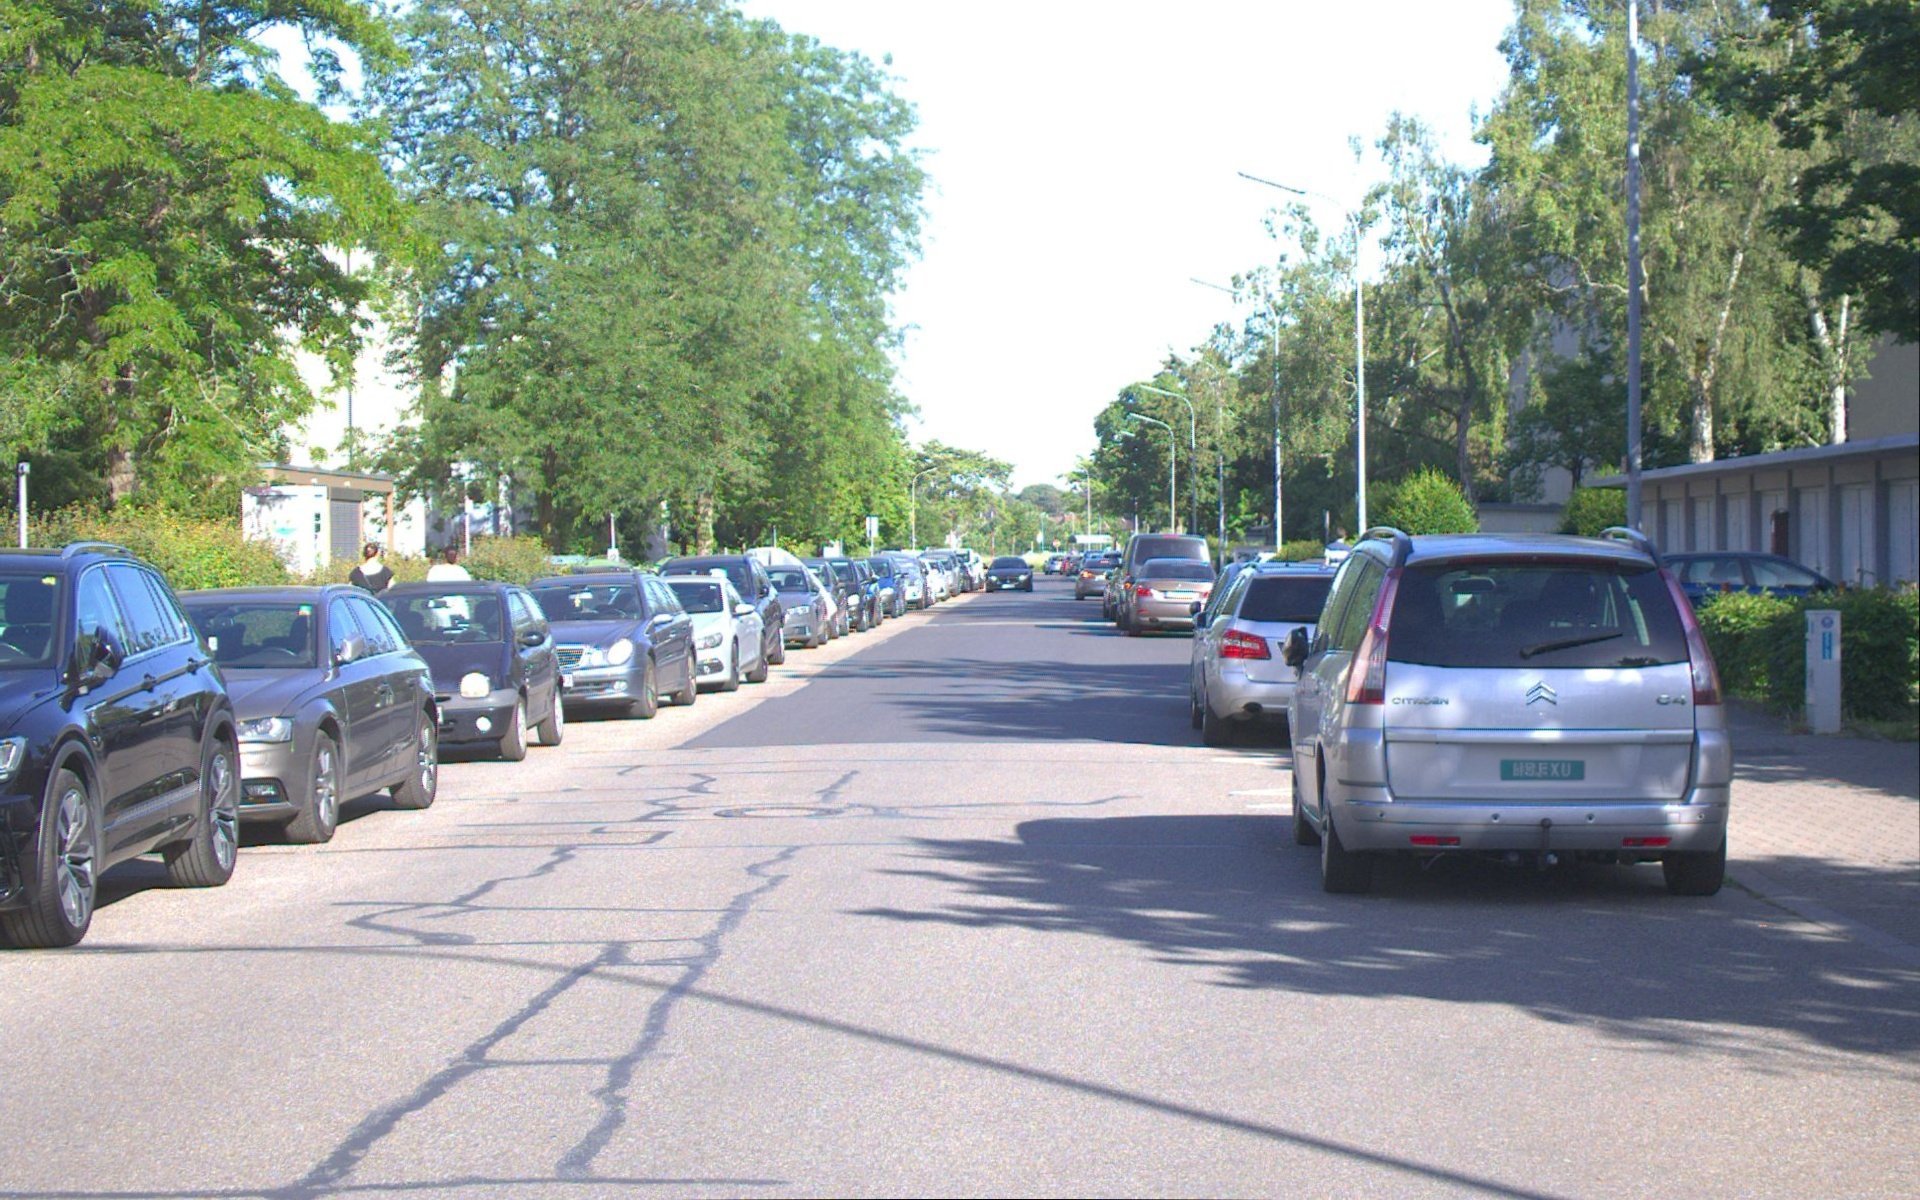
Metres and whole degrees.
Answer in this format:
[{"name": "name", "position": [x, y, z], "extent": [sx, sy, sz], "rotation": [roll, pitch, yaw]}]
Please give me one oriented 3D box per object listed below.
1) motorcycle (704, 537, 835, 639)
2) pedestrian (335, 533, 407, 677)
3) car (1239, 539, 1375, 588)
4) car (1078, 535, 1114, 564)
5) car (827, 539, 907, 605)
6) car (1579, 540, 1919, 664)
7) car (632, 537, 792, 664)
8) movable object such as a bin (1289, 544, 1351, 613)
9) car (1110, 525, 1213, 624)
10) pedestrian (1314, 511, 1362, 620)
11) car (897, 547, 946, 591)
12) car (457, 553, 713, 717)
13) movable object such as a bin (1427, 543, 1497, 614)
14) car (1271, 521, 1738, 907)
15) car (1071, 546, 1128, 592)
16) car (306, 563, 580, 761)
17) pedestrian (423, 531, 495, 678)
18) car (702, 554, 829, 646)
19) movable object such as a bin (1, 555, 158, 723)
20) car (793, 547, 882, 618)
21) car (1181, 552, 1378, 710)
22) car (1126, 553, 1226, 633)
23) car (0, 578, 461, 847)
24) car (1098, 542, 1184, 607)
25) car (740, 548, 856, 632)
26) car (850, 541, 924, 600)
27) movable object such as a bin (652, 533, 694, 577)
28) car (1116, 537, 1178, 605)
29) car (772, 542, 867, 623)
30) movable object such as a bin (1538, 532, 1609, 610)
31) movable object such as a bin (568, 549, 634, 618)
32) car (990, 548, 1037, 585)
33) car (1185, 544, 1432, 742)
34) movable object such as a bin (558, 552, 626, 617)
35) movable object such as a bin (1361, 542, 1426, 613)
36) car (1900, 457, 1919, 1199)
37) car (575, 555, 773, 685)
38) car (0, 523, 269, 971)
[{"name": "motorcycle", "position": [-3.441, -0.230, 62.197], "extent": [2.256, 1.721, 0.932], "rotation": [-3, 1, -1]}, {"name": "pedestrian", "position": [-6.848, 0.053, 40.007], "extent": [0.720, 1.673, 0.600], "rotation": [0, 1, 2]}, {"name": "car", "position": [11.618, -1.232, 115.387], "extent": [4.415, 1.508, 1.829], "rotation": [-1, 1, 2]}, {"name": "car", "position": [7.562, -2.820, 191.007], "extent": [1.796, 1.556, 3.952], "rotation": [1, 1, -1]}, {"name": "car", "position": [-2.395, -0.753, 89.187], "extent": [1.754, 1.600, 3.968], "rotation": [-2, 1, 2]}, {"name": "car", "position": [9.887, 0.011, 42.305], "extent": [4.182, 1.489, 1.818], "rotation": [0, 1, -1]}, {"name": "car", "position": [-3.420, -0.026, 48.106], "extent": [1.754, 1.630, 4.370], "rotation": [-3, 1, 2]}, {"name": "movable object such as a bin", "position": [7.197, -0.438, 68.666], "extent": [1.027, 1.305, 1.386], "rotation": [-3, 0, 12]}, {"name": "car", "position": [4.101, -0.542, 70.528], "extent": [1.852, 1.927, 4.705], "rotation": [1, 1, 1]}, {"name": "pedestrian", "position": [6.707, -0.615, 60.991], "extent": [0.703, 1.882, 0.872], "rotation": [-3, 1, 3]}, {"name": "car", "position": [-1.359, -1.105, 121.963], "extent": [1.686, 1.500, 3.818], "rotation": [-1, 1, 0]}, {"name": "car", "position": [-3.777, 0.324, 35.478], "extent": [1.754, 1.485, 4.900], "rotation": [-3, 0, 3]}, {"name": "movable object such as a bin", "position": [9.804, -0.428, 67.191], "extent": [1.276, 1.360, 1.133], "rotation": [0, 1, 5]}, {"name": "car", "position": [2.494, 0.437, 16.735], "extent": [1.754, 1.621, 4.495], "rotation": [0, 1, 3]}, {"name": "car", "position": [4.749, -1.080, 117.081], "extent": [1.679, 1.508, 4.104], "rotation": [1, 1, -1]}, {"name": "car", "position": [-4.189, 0.461, 28.305], "extent": [1.648, 1.459, 3.496], "rotation": [-2, 1, 1]}, {"name": "pedestrian", "position": [-5.740, 0.051, 39.440], "extent": [0.720, 1.673, 0.616], "rotation": [0, 1, 2]}, {"name": "car", "position": [-3.280, -0.026, 58.619], "extent": [1.754, 1.416, 4.269], "rotation": [-3, 1, 2]}, {"name": "movable object such as a bin", "position": [-7.764, 0.326, 30.370], "extent": [1.002, 1.410, 1.326], "rotation": [2, 1, 0]}, {"name": "car", "position": [-2.726, -0.421, 77.349], "extent": [1.754, 1.476, 4.537], "rotation": [-3, 1, 0]}, {"name": "car", "position": [3.179, 0.267, 34.777], "extent": [1.804, 1.489, 3.795], "rotation": [0, 1, 3]}, {"name": "car", "position": [4.035, -0.158, 64.565], "extent": [1.801, 1.414, 4.635], "rotation": [1, 1, 3]}, {"name": "car", "position": [-4.247, 0.583, 20.565], "extent": [1.754, 1.380, 4.674], "rotation": [-2, 0, 1]}, {"name": "car", "position": [4.344, -0.642, 82.960], "extent": [1.731, 1.485, 4.501], "rotation": [-1, 1, -1]}, {"name": "car", "position": [-3.073, -0.220, 65.842], "extent": [1.754, 1.476, 3.959], "rotation": [-2, 1, 3]}, {"name": "car", "position": [-2.091, -0.883, 99.849], "extent": [1.903, 1.634, 4.349], "rotation": [-1, 1, 2]}, {"name": "movable object such as a bin", "position": [-9.689, -1.526, 116.116], "extent": [1.177, 1.416, 1.462], "rotation": [2, 1, 4]}, {"name": "car", "position": [4.898, -0.770, 90.236], "extent": [1.489, 1.712, 2.583], "rotation": [1, 1, 1]}, {"name": "car", "position": [-2.917, -0.386, 71.948], "extent": [1.754, 1.569, 3.720], "rotation": [-3, 1, 0]}, {"name": "movable object such as a bin", "position": [12.101, -0.577, 67.870], "extent": [1.276, 1.460, 1.133], "rotation": [0, 4, 5]}, {"name": "movable object such as a bin", "position": [-7.368, -0.342, 70.649], "extent": [1.177, 1.403, 1.343], "rotation": [0, 1, 2]}, {"name": "car", "position": [2.230, -1.408, 142.912], "extent": [1.910, 1.471, 4.571], "rotation": [-1, 1, 1]}, {"name": "car", "position": [2.873, 0.296, 29.180], "extent": [1.831, 1.540, 4.640], "rotation": [0, 1, 3]}, {"name": "movable object such as a bin", "position": [-7.410, -0.326, 69.232], "extent": [1.177, 1.283, 1.343], "rotation": [0, 1, 2]}, {"name": "movable object such as a bin", "position": [8.526, -0.446, 67.628], "extent": [1.224, 1.360, 1.133], "rotation": [0, 1, 5]}, {"name": "car", "position": [2.490, 0.642, 3.439], "extent": [1.754, 1.668, 4.414], "rotation": [0, 1, -2]}, {"name": "car", "position": [-3.414, 0.218, 41.700], "extent": [1.754, 1.420, 4.210], "rotation": [-3, 0, 3]}, {"name": "car", "position": [-4.377, 0.531, 14.965], "extent": [1.754, 1.663, 4.390], "rotation": [-2, 1, 1]}]
